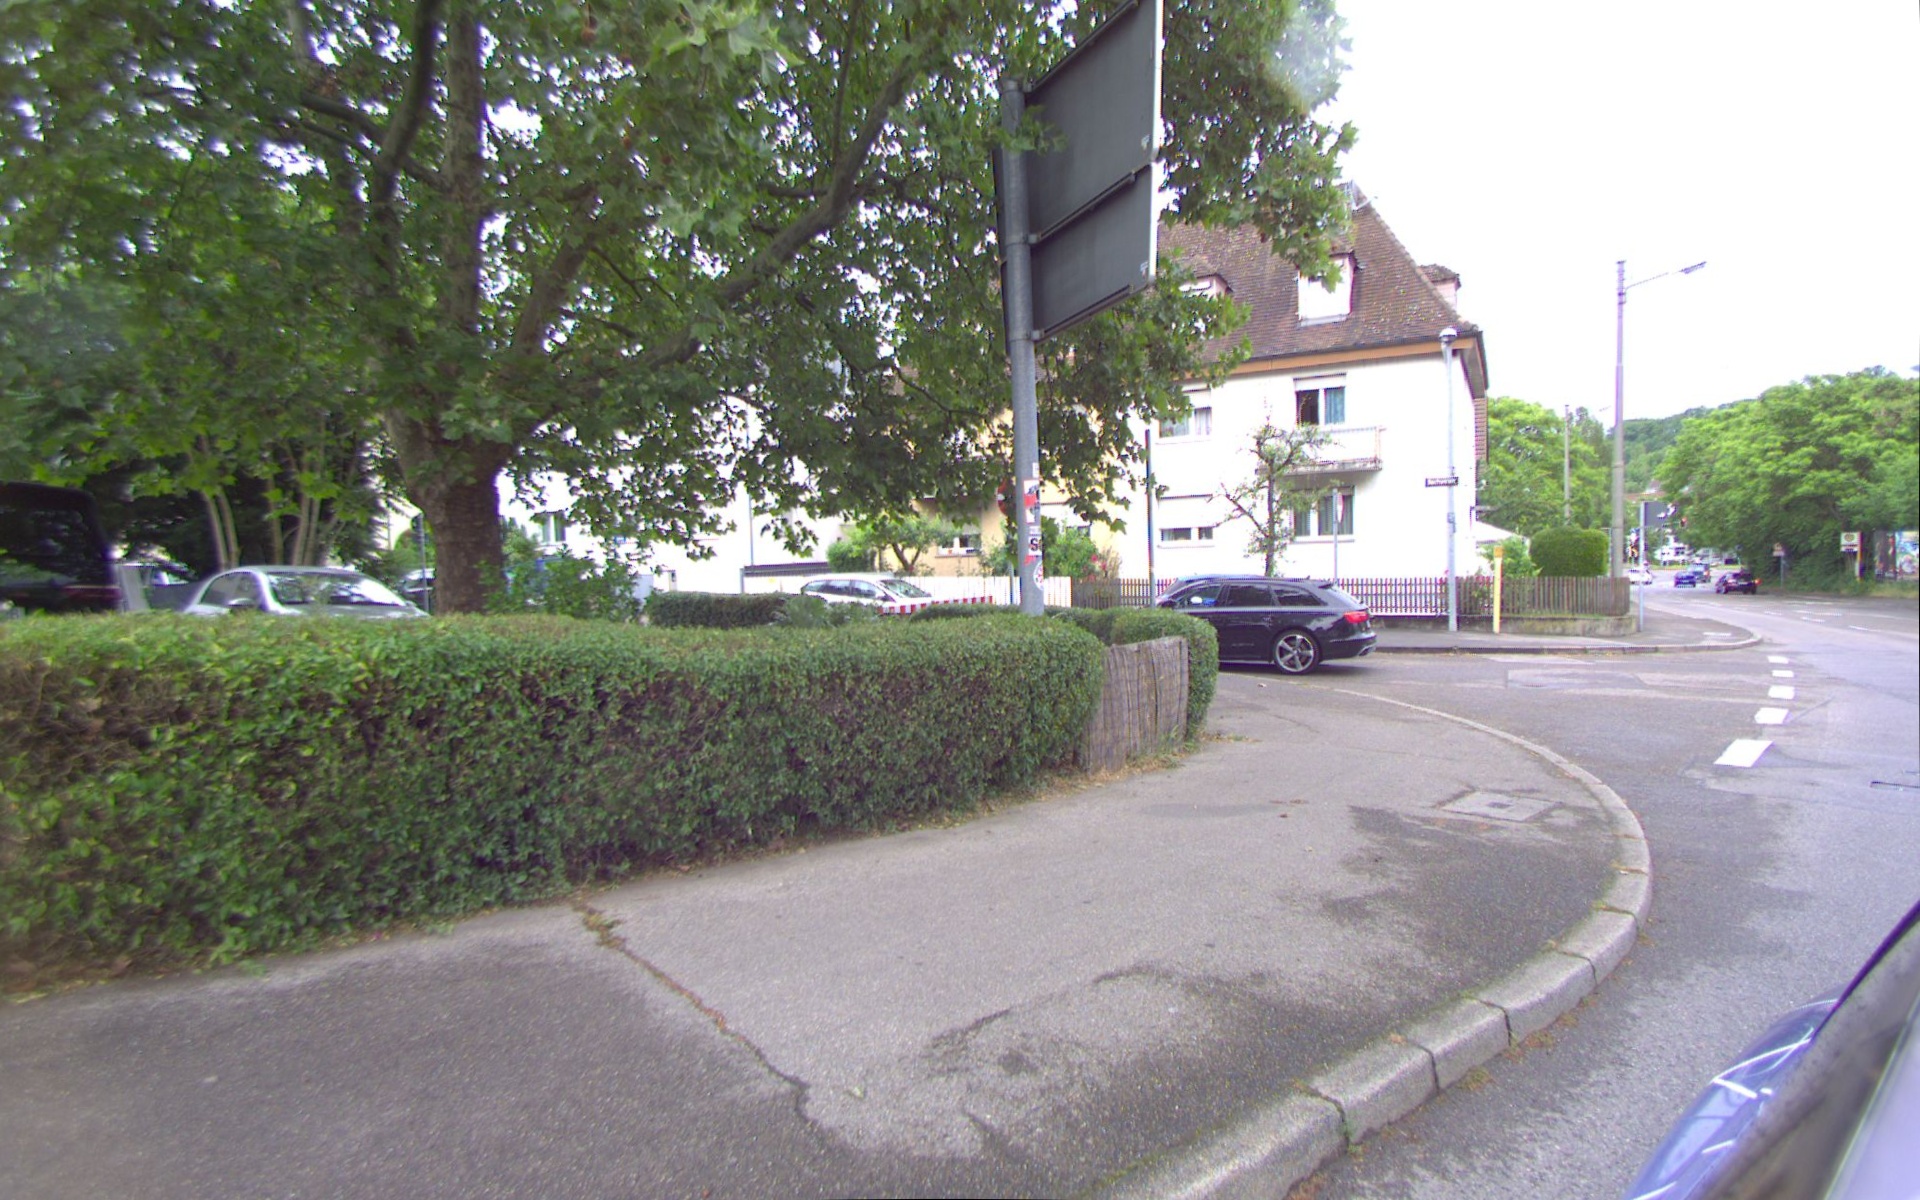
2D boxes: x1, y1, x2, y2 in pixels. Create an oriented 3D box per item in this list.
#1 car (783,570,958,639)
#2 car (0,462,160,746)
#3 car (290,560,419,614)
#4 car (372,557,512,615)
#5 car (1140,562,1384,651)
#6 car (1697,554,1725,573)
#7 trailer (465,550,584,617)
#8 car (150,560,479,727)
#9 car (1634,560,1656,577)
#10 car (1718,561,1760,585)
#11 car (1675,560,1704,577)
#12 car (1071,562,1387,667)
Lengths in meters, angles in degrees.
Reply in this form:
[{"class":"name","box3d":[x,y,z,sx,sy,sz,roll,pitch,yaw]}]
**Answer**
[{"class":"car","box3d":[-2.086,0.057,23.401,3.752,1.471,1.754,1,1,30]},{"class":"car","box3d":[-8.541,0.000,7.983,4.376,1.956,1.980,1,2,29]},{"class":"car","box3d":[-22.080,-0.510,36.894,4.535,1.862,1.982,1,2,28]},{"class":"car","box3d":[-17.511,-0.497,34.179,4.535,1.862,1.982,1,2,28]},{"class":"car","box3d":[5.683,0.053,19.151,4.095,1.498,1.865,1,2,32]},{"class":"car","box3d":[79.367,-3.855,107.013,1.948,1.955,4.632,1,2,31]},{"class":"trailer","box3d":[-13.929,-0.555,32.372,3.456,2.038,1.657,1,1,26]},{"class":"car","box3d":[-7.450,0.361,11.579,3.974,1.599,1.800,1,2,35]},{"class":"car","box3d":[69.972,-3.209,103.364,1.825,1.598,4.281,-1,1,35]},{"class":"car","box3d":[52.592,-1.800,68.378,1.834,1.588,4.361,1,1,33]},{"class":"car","box3d":[66.262,-2.884,91.985,1.588,1.442,3.662,3,5,28]},{"class":"car","box3d":[4.368,0.148,16.547,4.768,1.498,1.870,1,2,25]}]
